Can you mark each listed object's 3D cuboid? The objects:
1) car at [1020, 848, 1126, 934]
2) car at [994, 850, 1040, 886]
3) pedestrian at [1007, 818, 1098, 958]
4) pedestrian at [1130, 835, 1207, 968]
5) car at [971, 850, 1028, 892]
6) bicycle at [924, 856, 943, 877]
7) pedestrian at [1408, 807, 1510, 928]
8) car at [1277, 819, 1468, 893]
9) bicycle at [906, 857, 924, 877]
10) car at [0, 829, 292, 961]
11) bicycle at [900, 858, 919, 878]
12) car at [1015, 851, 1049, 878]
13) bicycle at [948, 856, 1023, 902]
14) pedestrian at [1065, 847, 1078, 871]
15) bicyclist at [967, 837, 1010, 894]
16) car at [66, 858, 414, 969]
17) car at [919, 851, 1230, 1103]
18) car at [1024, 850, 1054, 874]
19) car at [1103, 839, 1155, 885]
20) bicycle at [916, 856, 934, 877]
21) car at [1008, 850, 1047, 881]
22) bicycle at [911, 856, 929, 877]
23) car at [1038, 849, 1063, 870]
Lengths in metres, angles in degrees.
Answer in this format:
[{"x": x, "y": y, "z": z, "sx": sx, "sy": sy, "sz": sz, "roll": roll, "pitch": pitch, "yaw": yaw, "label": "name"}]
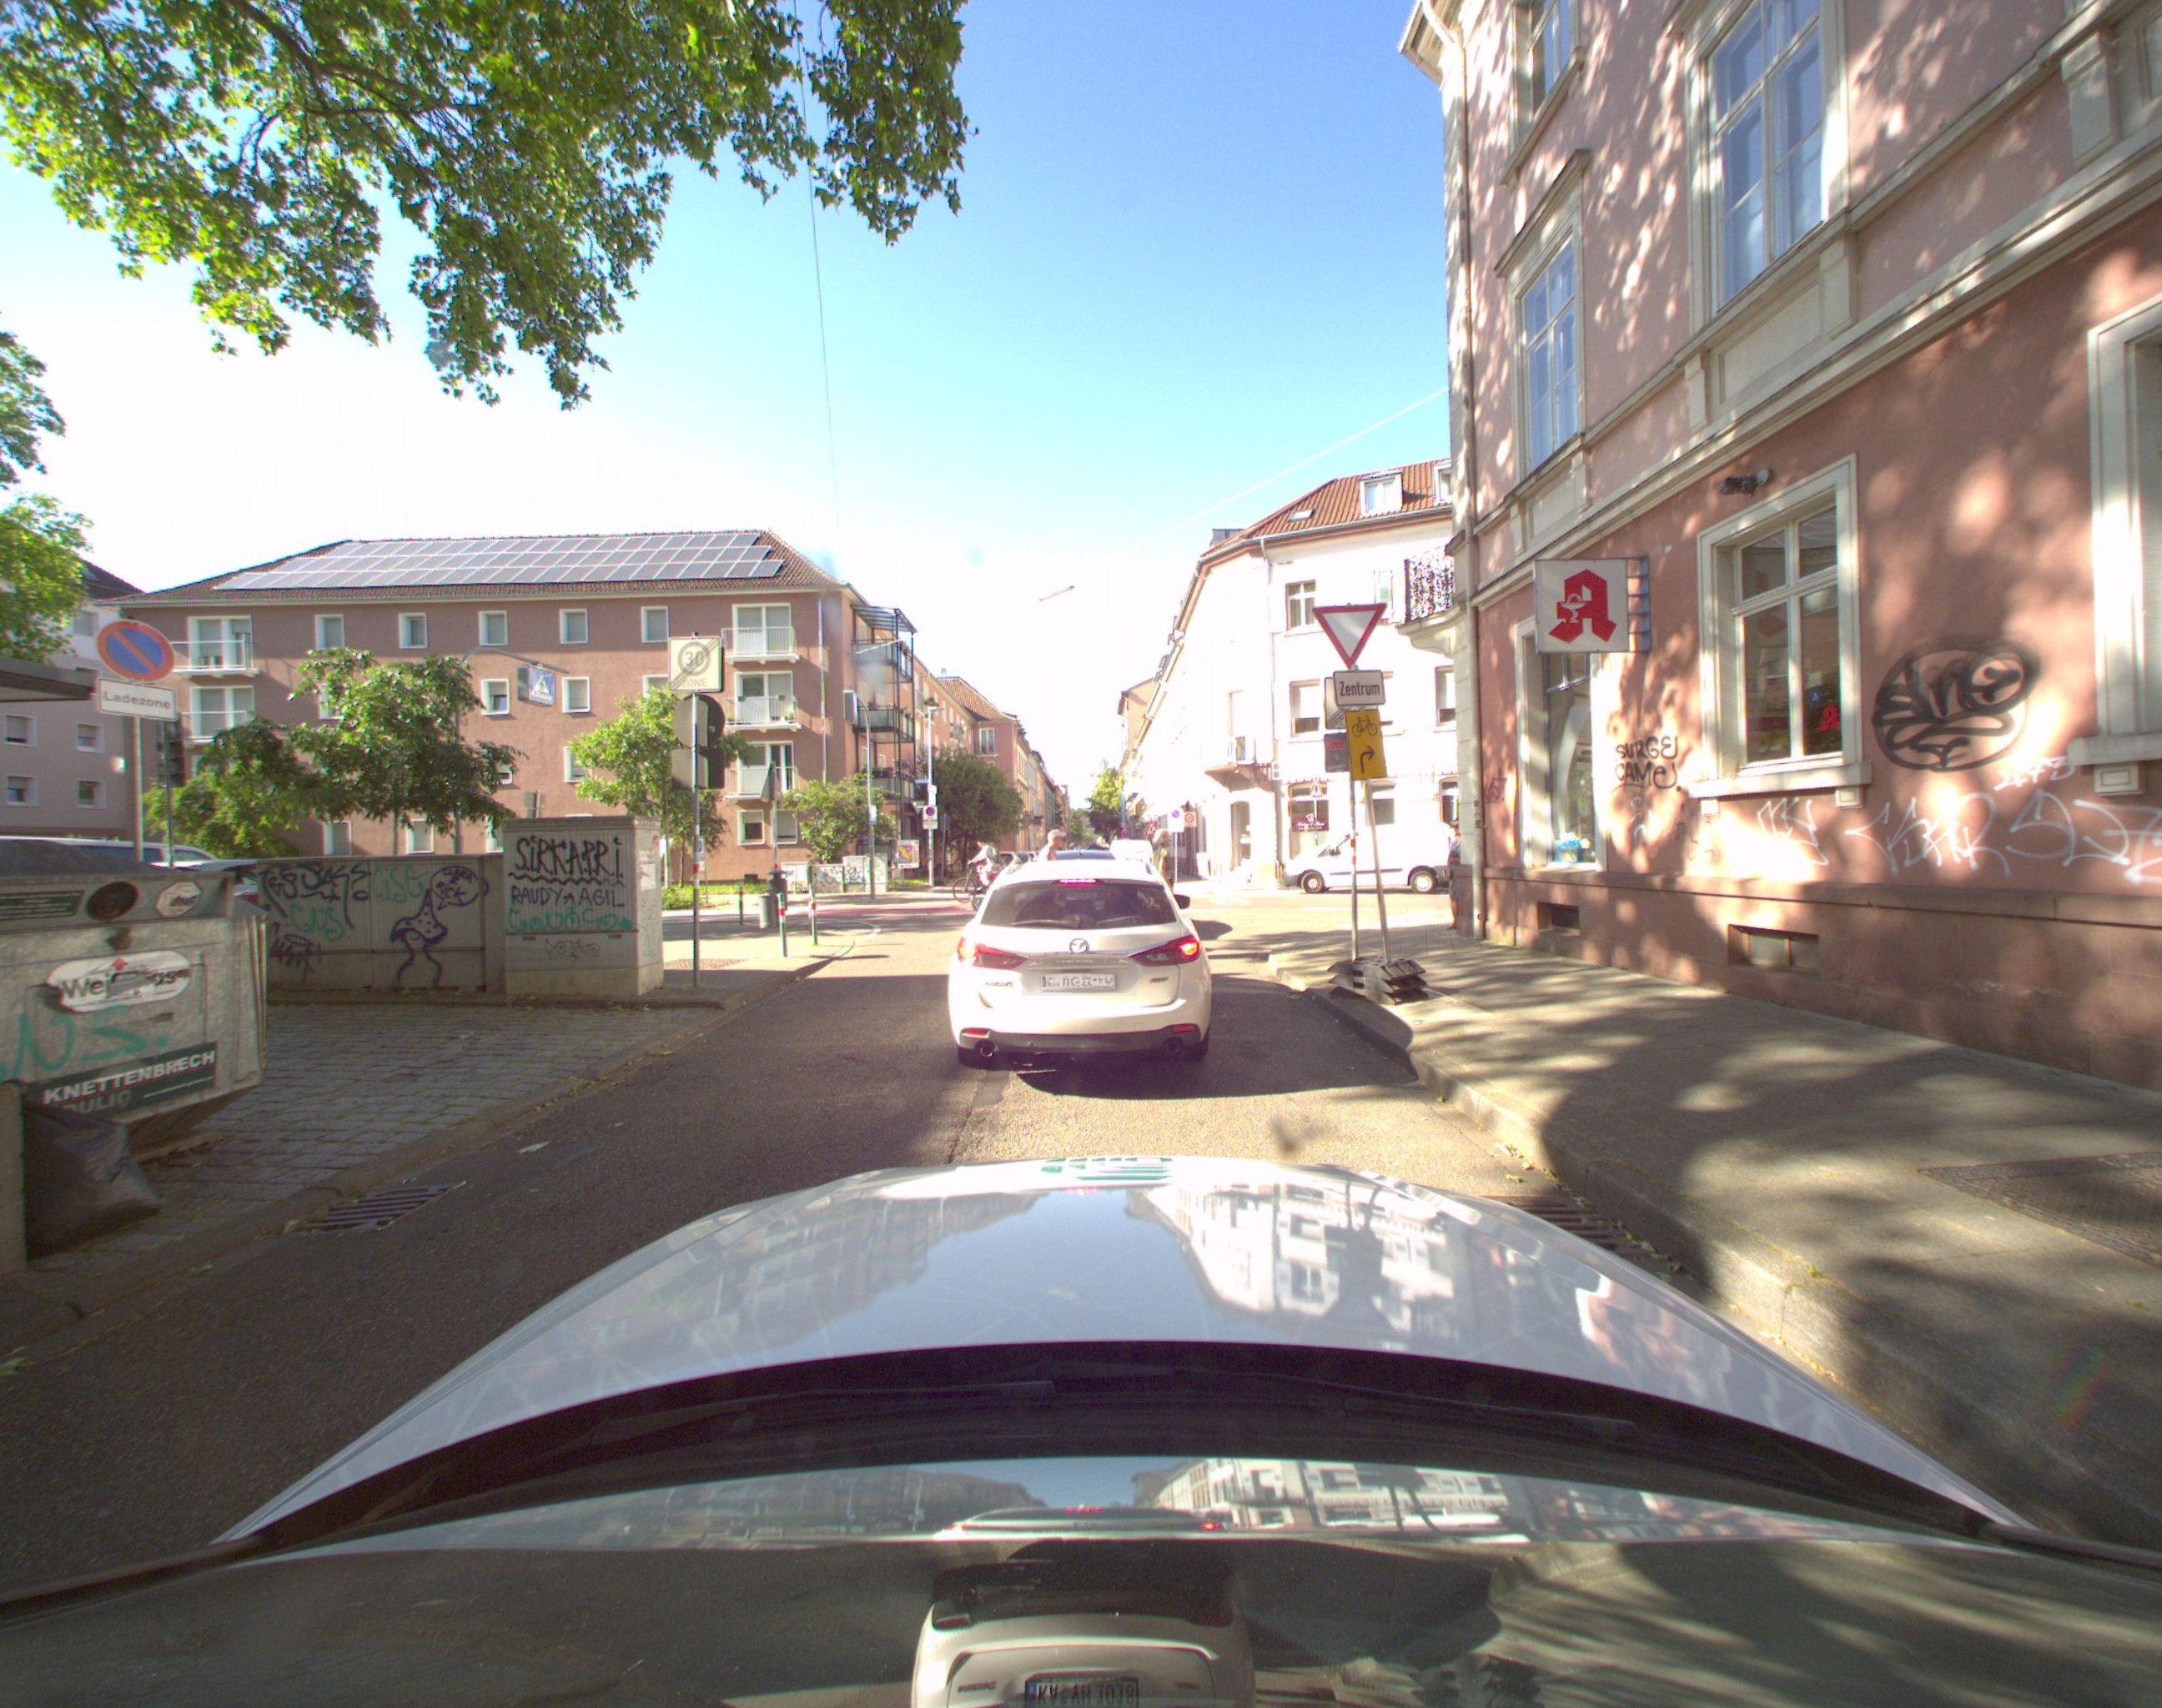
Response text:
[{"x": -0.064, "y": 0.617, "z": 15.922, "sx": 1.754, "sy": 1.410, "sz": 4.330, "roll": -1, "pitch": 0, "yaw": 2, "label": "car"}, {"x": -2.922, "y": 0.603, "z": 37.770, "sx": 1.647, "sy": 1.500, "sz": 4.081, "roll": -1, "pitch": 0, "yaw": 2, "label": "car"}, {"x": -0.380, "y": 0.451, "z": 11.395, "sx": 0.746, "sy": 1.763, "sz": 0.832, "roll": -14, "pitch": 0, "yaw": 7, "label": "pedestrian"}, {"x": 1.164, "y": 0.622, "z": 10.993, "sx": 0.833, "sy": 1.667, "sz": 0.626, "roll": -6, "pitch": -1, "yaw": 1, "label": "pedestrian"}, {"x": -3.106, "y": 0.600, "z": 31.698, "sx": 1.678, "sy": 1.500, "sz": 3.808, "roll": -1, "pitch": 0, "yaw": 2, "label": "car"}, {"x": -7.909, "y": 0.670, "z": 43.638, "sx": 1.204, "sy": 1.071, "sz": 0.255, "roll": -1, "pitch": 0, "yaw": 40, "label": "bicycle"}, {"x": 5.385, "y": 0.200, "z": 11.665, "sx": 0.843, "sy": 1.573, "sz": 0.844, "roll": -7, "pitch": -2, "yaw": -5, "label": "pedestrian"}, {"x": 8.406, "y": 0.089, "z": 23.555, "sx": 4.964, "sy": 1.946, "sz": 2.062, "roll": -1, "pitch": 0, "yaw": 24, "label": "car"}, {"x": -8.793, "y": 0.696, "z": 43.110, "sx": 1.201, "sy": 1.072, "sz": 0.268, "roll": -1, "pitch": 0, "yaw": 40, "label": "bicycle"}, {"x": -17.378, "y": 0.688, "z": 14.550, "sx": 1.947, "sy": 2.006, "sz": 4.743, "roll": -2, "pitch": -1, "yaw": -1, "label": "car"}, {"x": -9.023, "y": 0.723, "z": 42.880, "sx": 1.201, "sy": 1.035, "sz": 0.293, "roll": -1, "pitch": 0, "yaw": 40, "label": "bicycle"}, {"x": -2.934, "y": 0.621, "z": 49.590, "sx": 1.647, "sy": 1.500, "sz": 3.764, "roll": -1, "pitch": 0, "yaw": 2, "label": "car"}, {"x": -2.641, "y": 0.696, "z": 22.647, "sx": 1.940, "sy": 1.198, "sz": 0.630, "roll": -2, "pitch": 0, "yaw": 1, "label": "bicycle"}, {"x": -0.646, "y": 0.330, "z": 56.713, "sx": 0.733, "sy": 1.614, "sz": 0.813, "roll": -2, "pitch": 0, "yaw": -11, "label": "pedestrian"}, {"x": -2.568, "y": 0.313, "z": 22.640, "sx": 1.038, "sy": 1.519, "sz": 0.739, "roll": -2, "pitch": 0, "yaw": 1, "label": "bicyclist"}, {"x": -14.720, "y": 0.926, "z": 14.697, "sx": 1.747, "sy": 1.612, "sz": 4.304, "roll": -2, "pitch": 0, "yaw": 0, "label": "car"}, {"x": 0.021, "y": 0.733, "z": 6.866, "sx": 1.824, "sy": 1.457, "sz": 3.964, "roll": -2, "pitch": 0, "yaw": 2, "label": "car"}, {"x": -2.728, "y": 0.516, "z": 53.686, "sx": 1.647, "sy": 1.500, "sz": 3.764, "roll": -1, "pitch": 0, "yaw": 2, "label": "car"}, {"x": 2.009, "y": 0.305, "z": 35.364, "sx": 1.889, "sy": 1.859, "sz": 5.012, "roll": 1, "pitch": 0, "yaw": -1, "label": "car"}, {"x": -8.355, "y": 0.666, "z": 43.630, "sx": 1.201, "sy": 1.071, "sz": 0.255, "roll": -1, "pitch": 0, "yaw": 40, "label": "bicycle"}, {"x": -2.788, "y": 0.570, "z": 42.971, "sx": 1.647, "sy": 1.500, "sz": 3.764, "roll": -1, "pitch": 0, "yaw": 2, "label": "car"}, {"x": -8.577, "y": 0.667, "z": 43.381, "sx": 1.201, "sy": 1.071, "sz": 0.255, "roll": -1, "pitch": 0, "yaw": 40, "label": "bicycle"}, {"x": -2.395, "y": 0.413, "z": 64.294, "sx": 1.647, "sy": 1.500, "sz": 3.764, "roll": -1, "pitch": 0, "yaw": 2, "label": "car"}]
